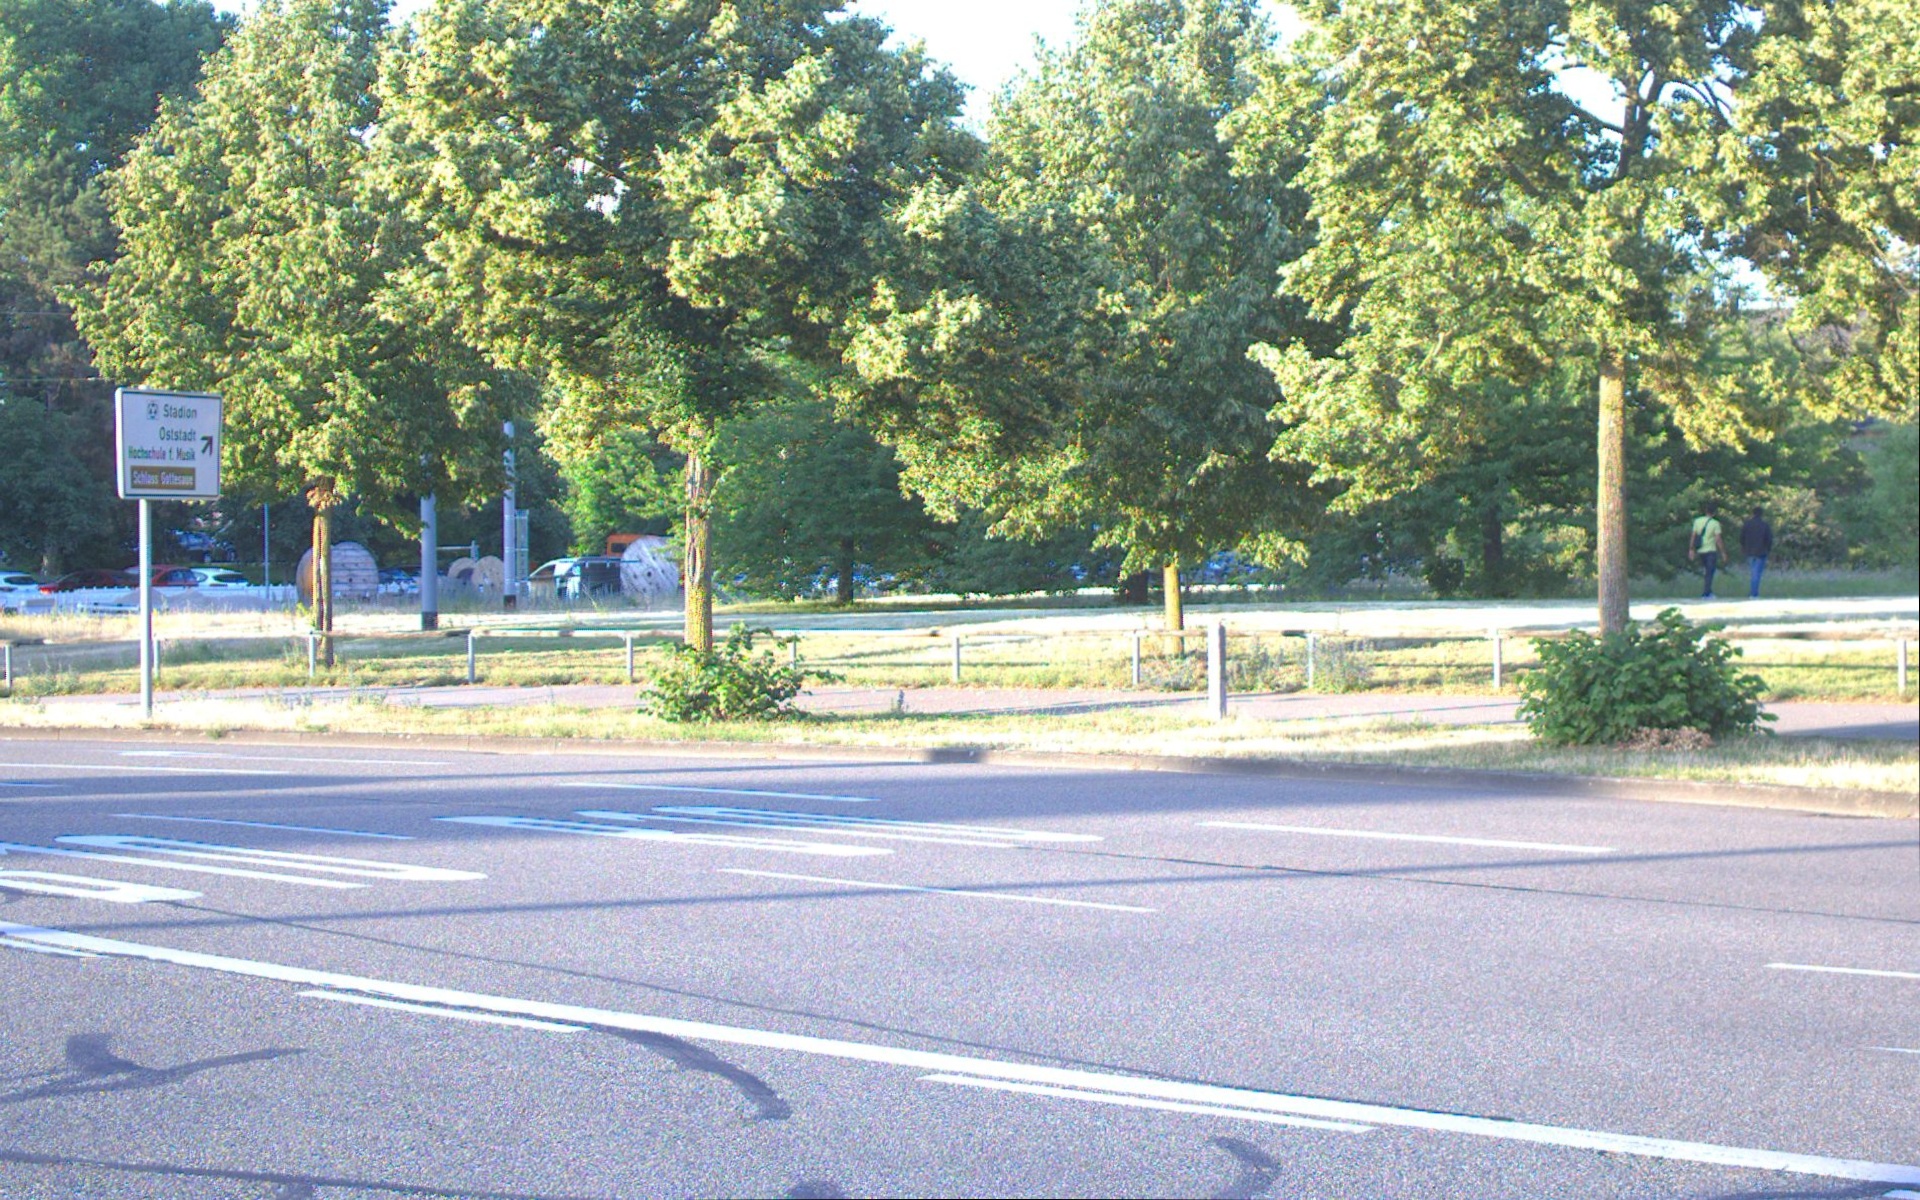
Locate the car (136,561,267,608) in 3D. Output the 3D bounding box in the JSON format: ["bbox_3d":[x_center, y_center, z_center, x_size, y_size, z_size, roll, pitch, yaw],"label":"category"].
[{"bbox_3d":[-25.541,-0.523,115.744,3.994,1.545,1.997,0,1,31],"label":"car"}]

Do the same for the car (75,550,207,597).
[{"bbox_3d":[-27.148,-0.887,113.980,3.994,1.545,1.997,0,1,31],"label":"car"}]

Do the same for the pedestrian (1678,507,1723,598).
[{"bbox_3d":[13.409,-0.863,62.268,0.579,1.621,0.533,-1,1,-32],"label":"pedestrian"}]

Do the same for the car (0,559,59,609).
[{"bbox_3d":[-30.501,-0.515,108.016,3.994,1.545,1.997,0,1,31],"label":"car"}]

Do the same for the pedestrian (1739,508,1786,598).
[{"bbox_3d":[14.499,-0.855,62.125,0.618,1.621,0.530,-1,1,-30],"label":"pedestrian"}]
